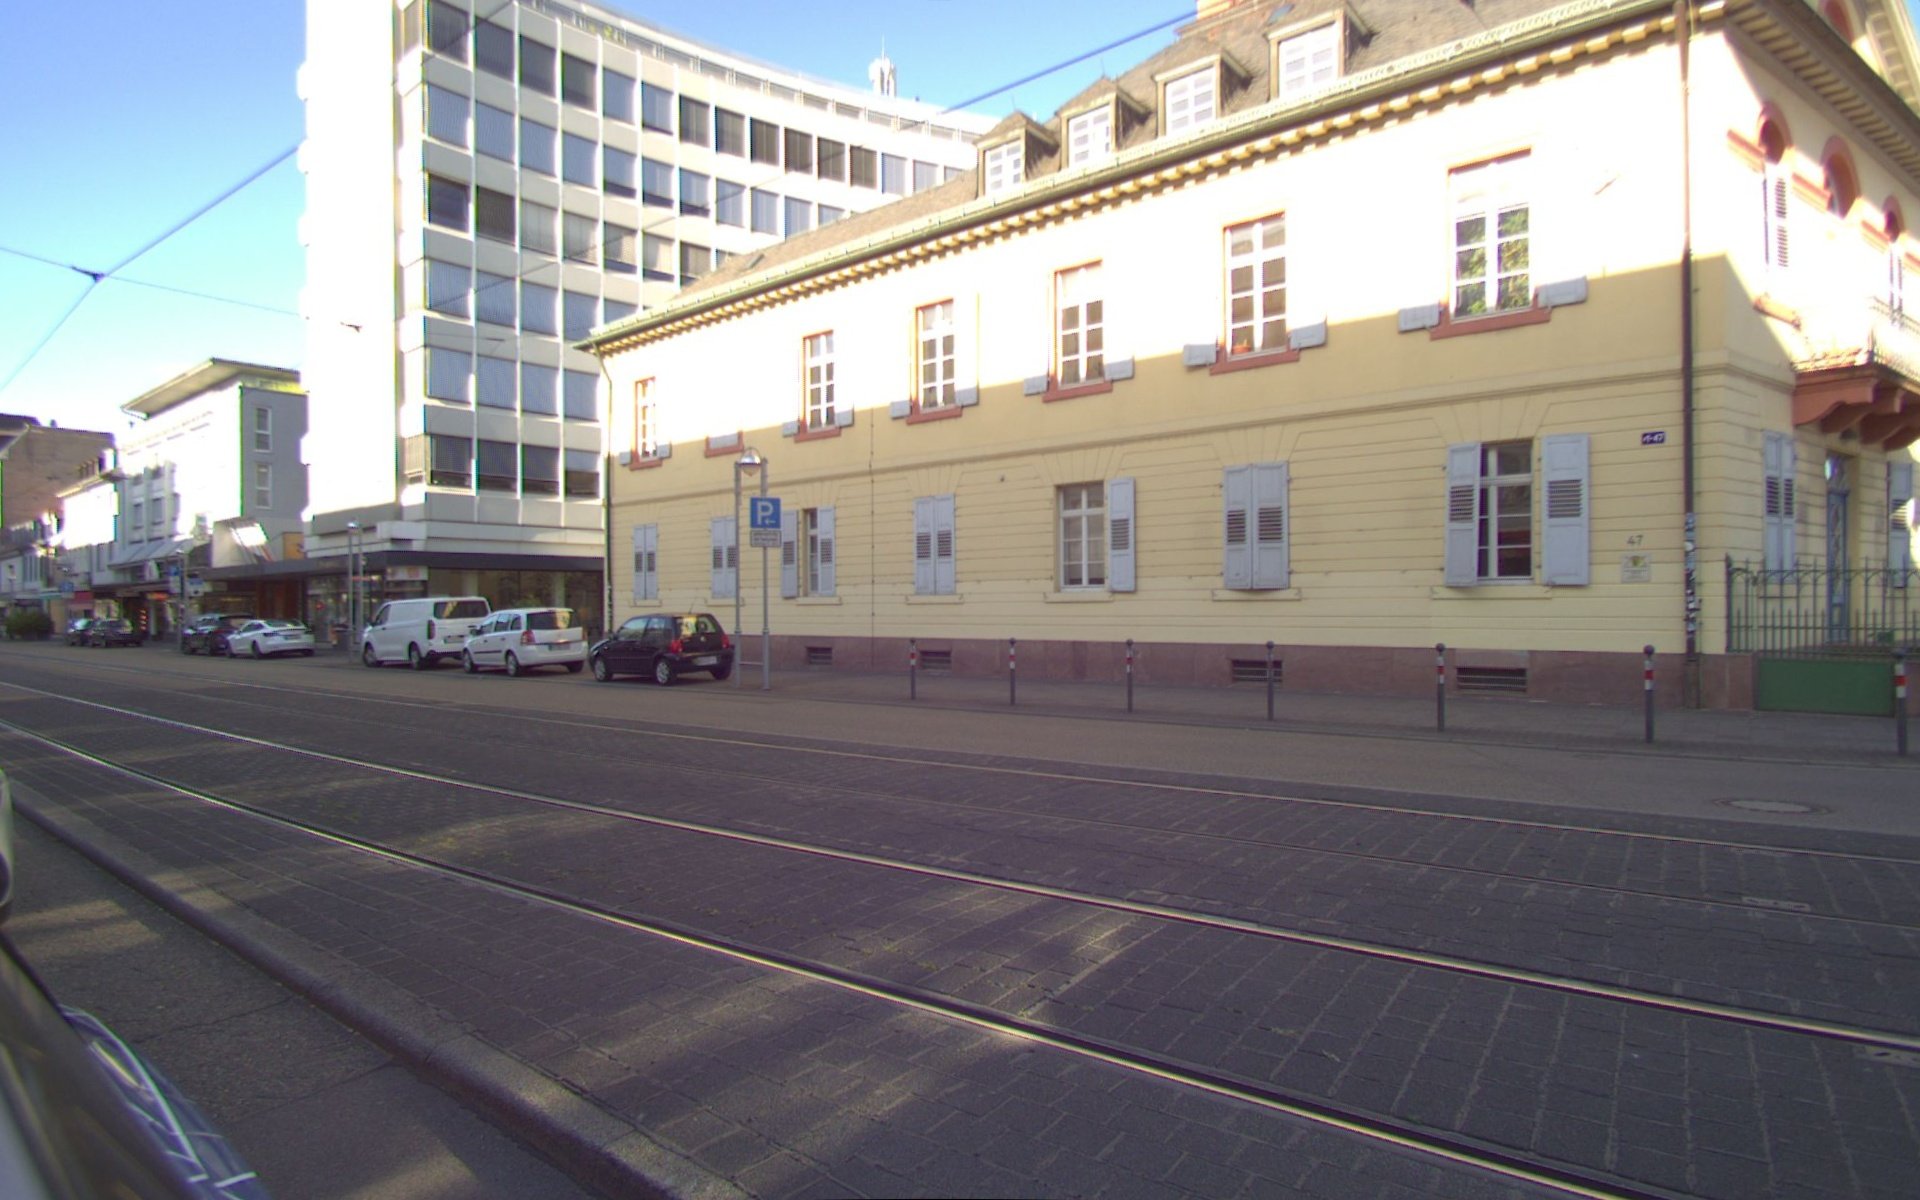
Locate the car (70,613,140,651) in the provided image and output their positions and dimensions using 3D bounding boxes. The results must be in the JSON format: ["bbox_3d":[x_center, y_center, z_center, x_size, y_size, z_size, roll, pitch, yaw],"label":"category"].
[{"bbox_3d":[-43.914,1.603,51.977,3.995,1.874,1.974,-1,0,38],"label":"car"}]

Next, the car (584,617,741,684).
[{"bbox_3d":[-6.346,1.016,21.489,3.210,1.263,1.667,-1,0,39],"label":"car"}]

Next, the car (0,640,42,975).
[{"bbox_3d":[-6.111,0.904,4.792,3.992,1.393,1.862,-1,0,36],"label":"car"}]

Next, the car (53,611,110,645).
[{"bbox_3d":[-50.205,1.604,57.815,3.994,1.896,1.768,-1,-1,38],"label":"car"}]

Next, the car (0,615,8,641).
[{"bbox_3d":[-78.700,2.282,81.788,3.995,2.029,1.974,-1,0,38],"label":"car"}]

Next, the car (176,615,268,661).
[{"bbox_3d":[-29.915,1.493,40.977,4.103,1.717,1.975,-1,0,38],"label":"car"}]

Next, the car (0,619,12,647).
[{"bbox_3d":[-71.262,2.406,74.364,3.998,2.029,1.973,-1,-1,41],"label":"car"}]

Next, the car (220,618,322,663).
[{"bbox_3d":[-25.636,1.447,37.613,4.369,1.541,1.974,-1,0,39],"label":"car"}]

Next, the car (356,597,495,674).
[{"bbox_3d":[-15.352,0.971,28.951,4.619,2.029,2.014,-1,-1,41],"label":"car"}]

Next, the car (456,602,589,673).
[{"bbox_3d":[-11.024,0.892,25.375,4.005,1.621,1.619,-1,0,43],"label":"car"}]

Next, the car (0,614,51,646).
[{"bbox_3d":[-63.016,2.021,68.087,3.996,2.058,2.172,-1,-1,39],"label":"car"}]
